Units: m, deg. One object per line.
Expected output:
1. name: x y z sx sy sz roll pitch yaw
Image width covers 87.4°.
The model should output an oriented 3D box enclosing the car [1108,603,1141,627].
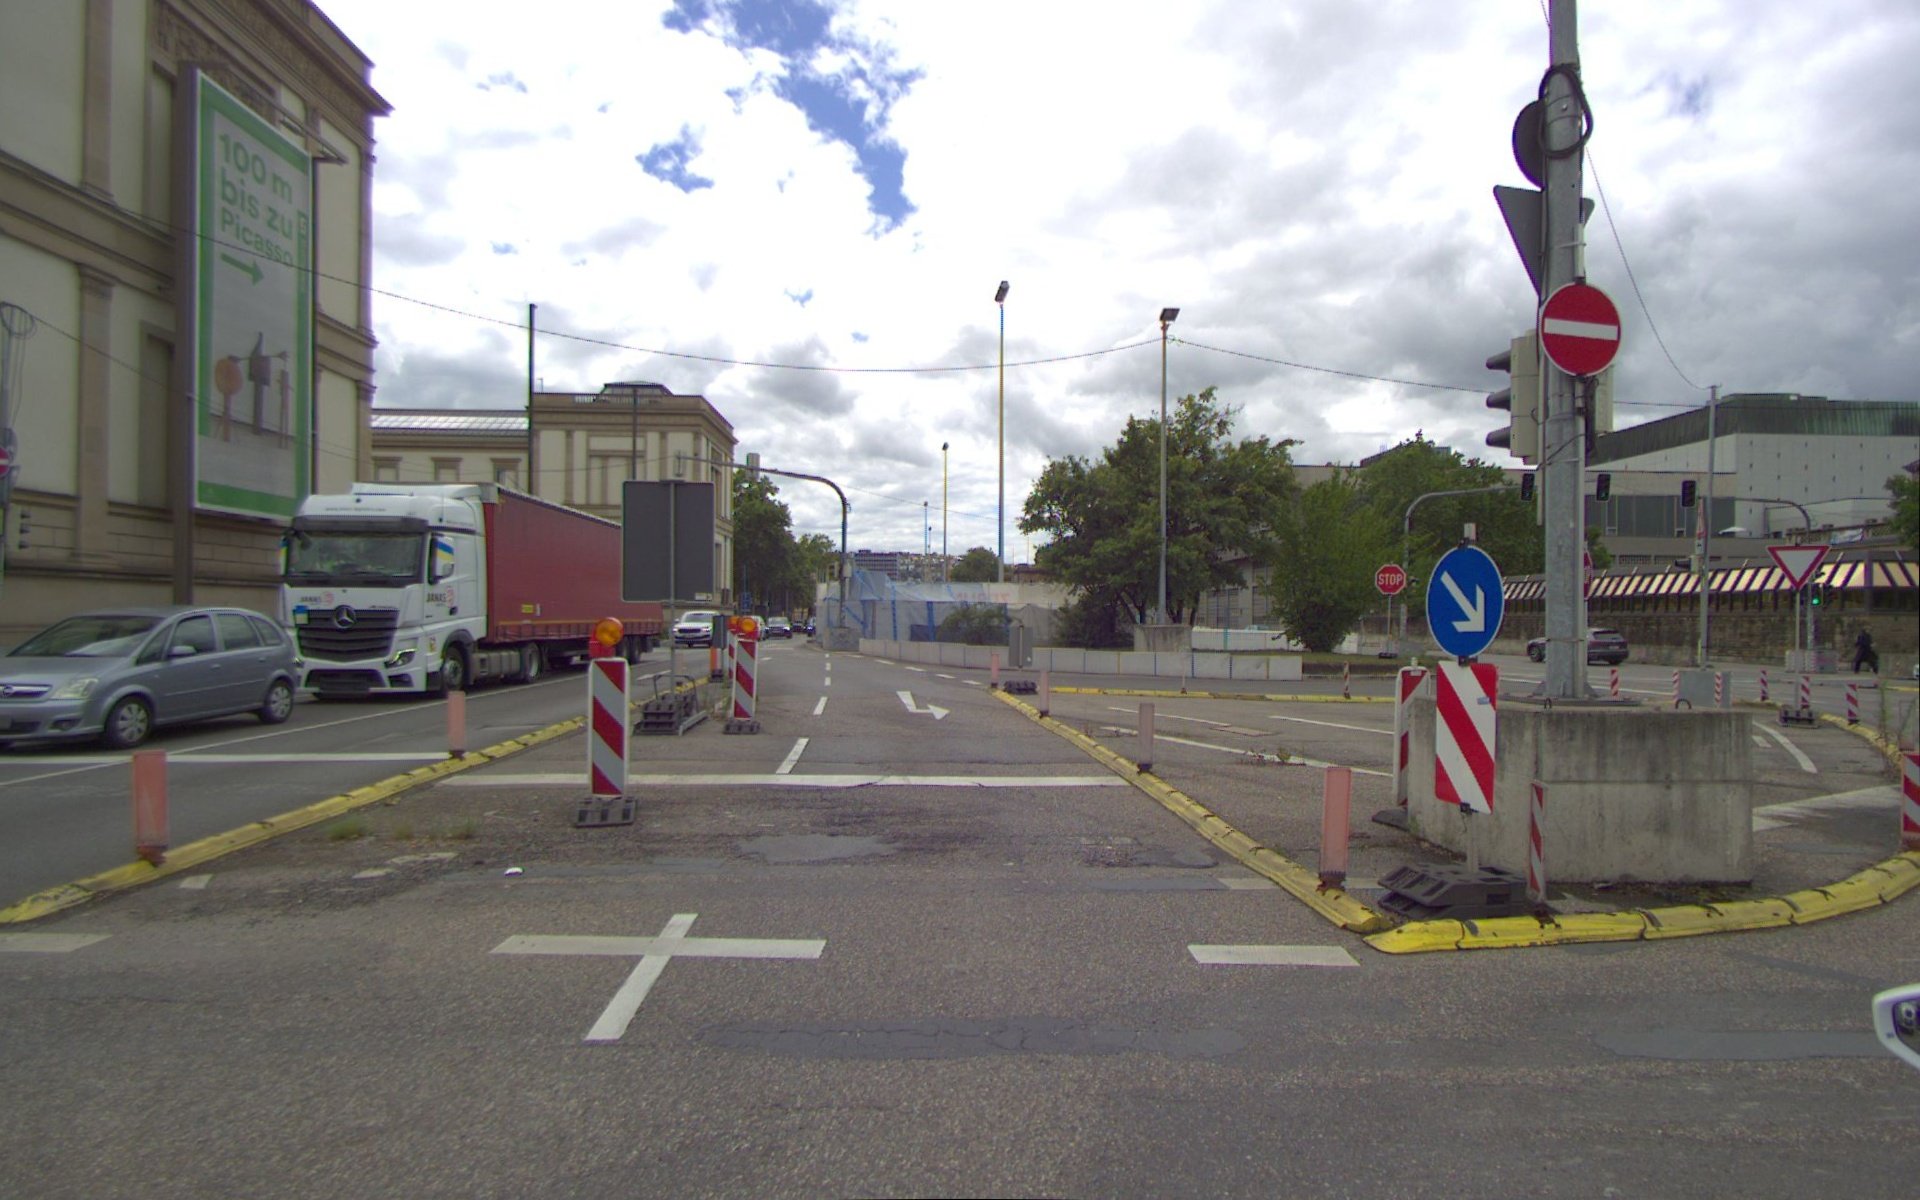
1. car: 17.389 1.635 106.578 2.539 2.405 5.527 0 -1 0

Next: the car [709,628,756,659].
1. car: -11.706 2.230 51.896 1.560 1.445 3.643 2 -1 0

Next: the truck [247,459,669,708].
1. truck: -10.794 -0.149 25.098 2.870 4.137 16.609 0 -1 -2

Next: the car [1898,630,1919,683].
1. car: 31.943 1.851 30.829 1.732 1.589 4.303 -2 2 -25

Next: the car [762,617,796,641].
1. car: -11.920 1.904 66.340 1.580 1.498 3.643 2 -1 0

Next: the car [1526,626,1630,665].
1. car: 28.392 2.073 46.325 1.794 1.588 4.477 0 0 -4

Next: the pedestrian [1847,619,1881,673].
1. pedestrian: 34.505 1.751 38.332 0.616 2.040 0.843 3 -2 -34

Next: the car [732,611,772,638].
1. car: -12.265 1.470 59.395 1.580 1.498 3.643 2 -1 0

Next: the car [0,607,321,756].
1. car: -10.161 0.870 12.628 1.737 1.524 4.130 1 0 -3

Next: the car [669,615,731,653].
1. car: -11.595 1.501 45.079 1.683 1.557 4.141 2 -1 0
